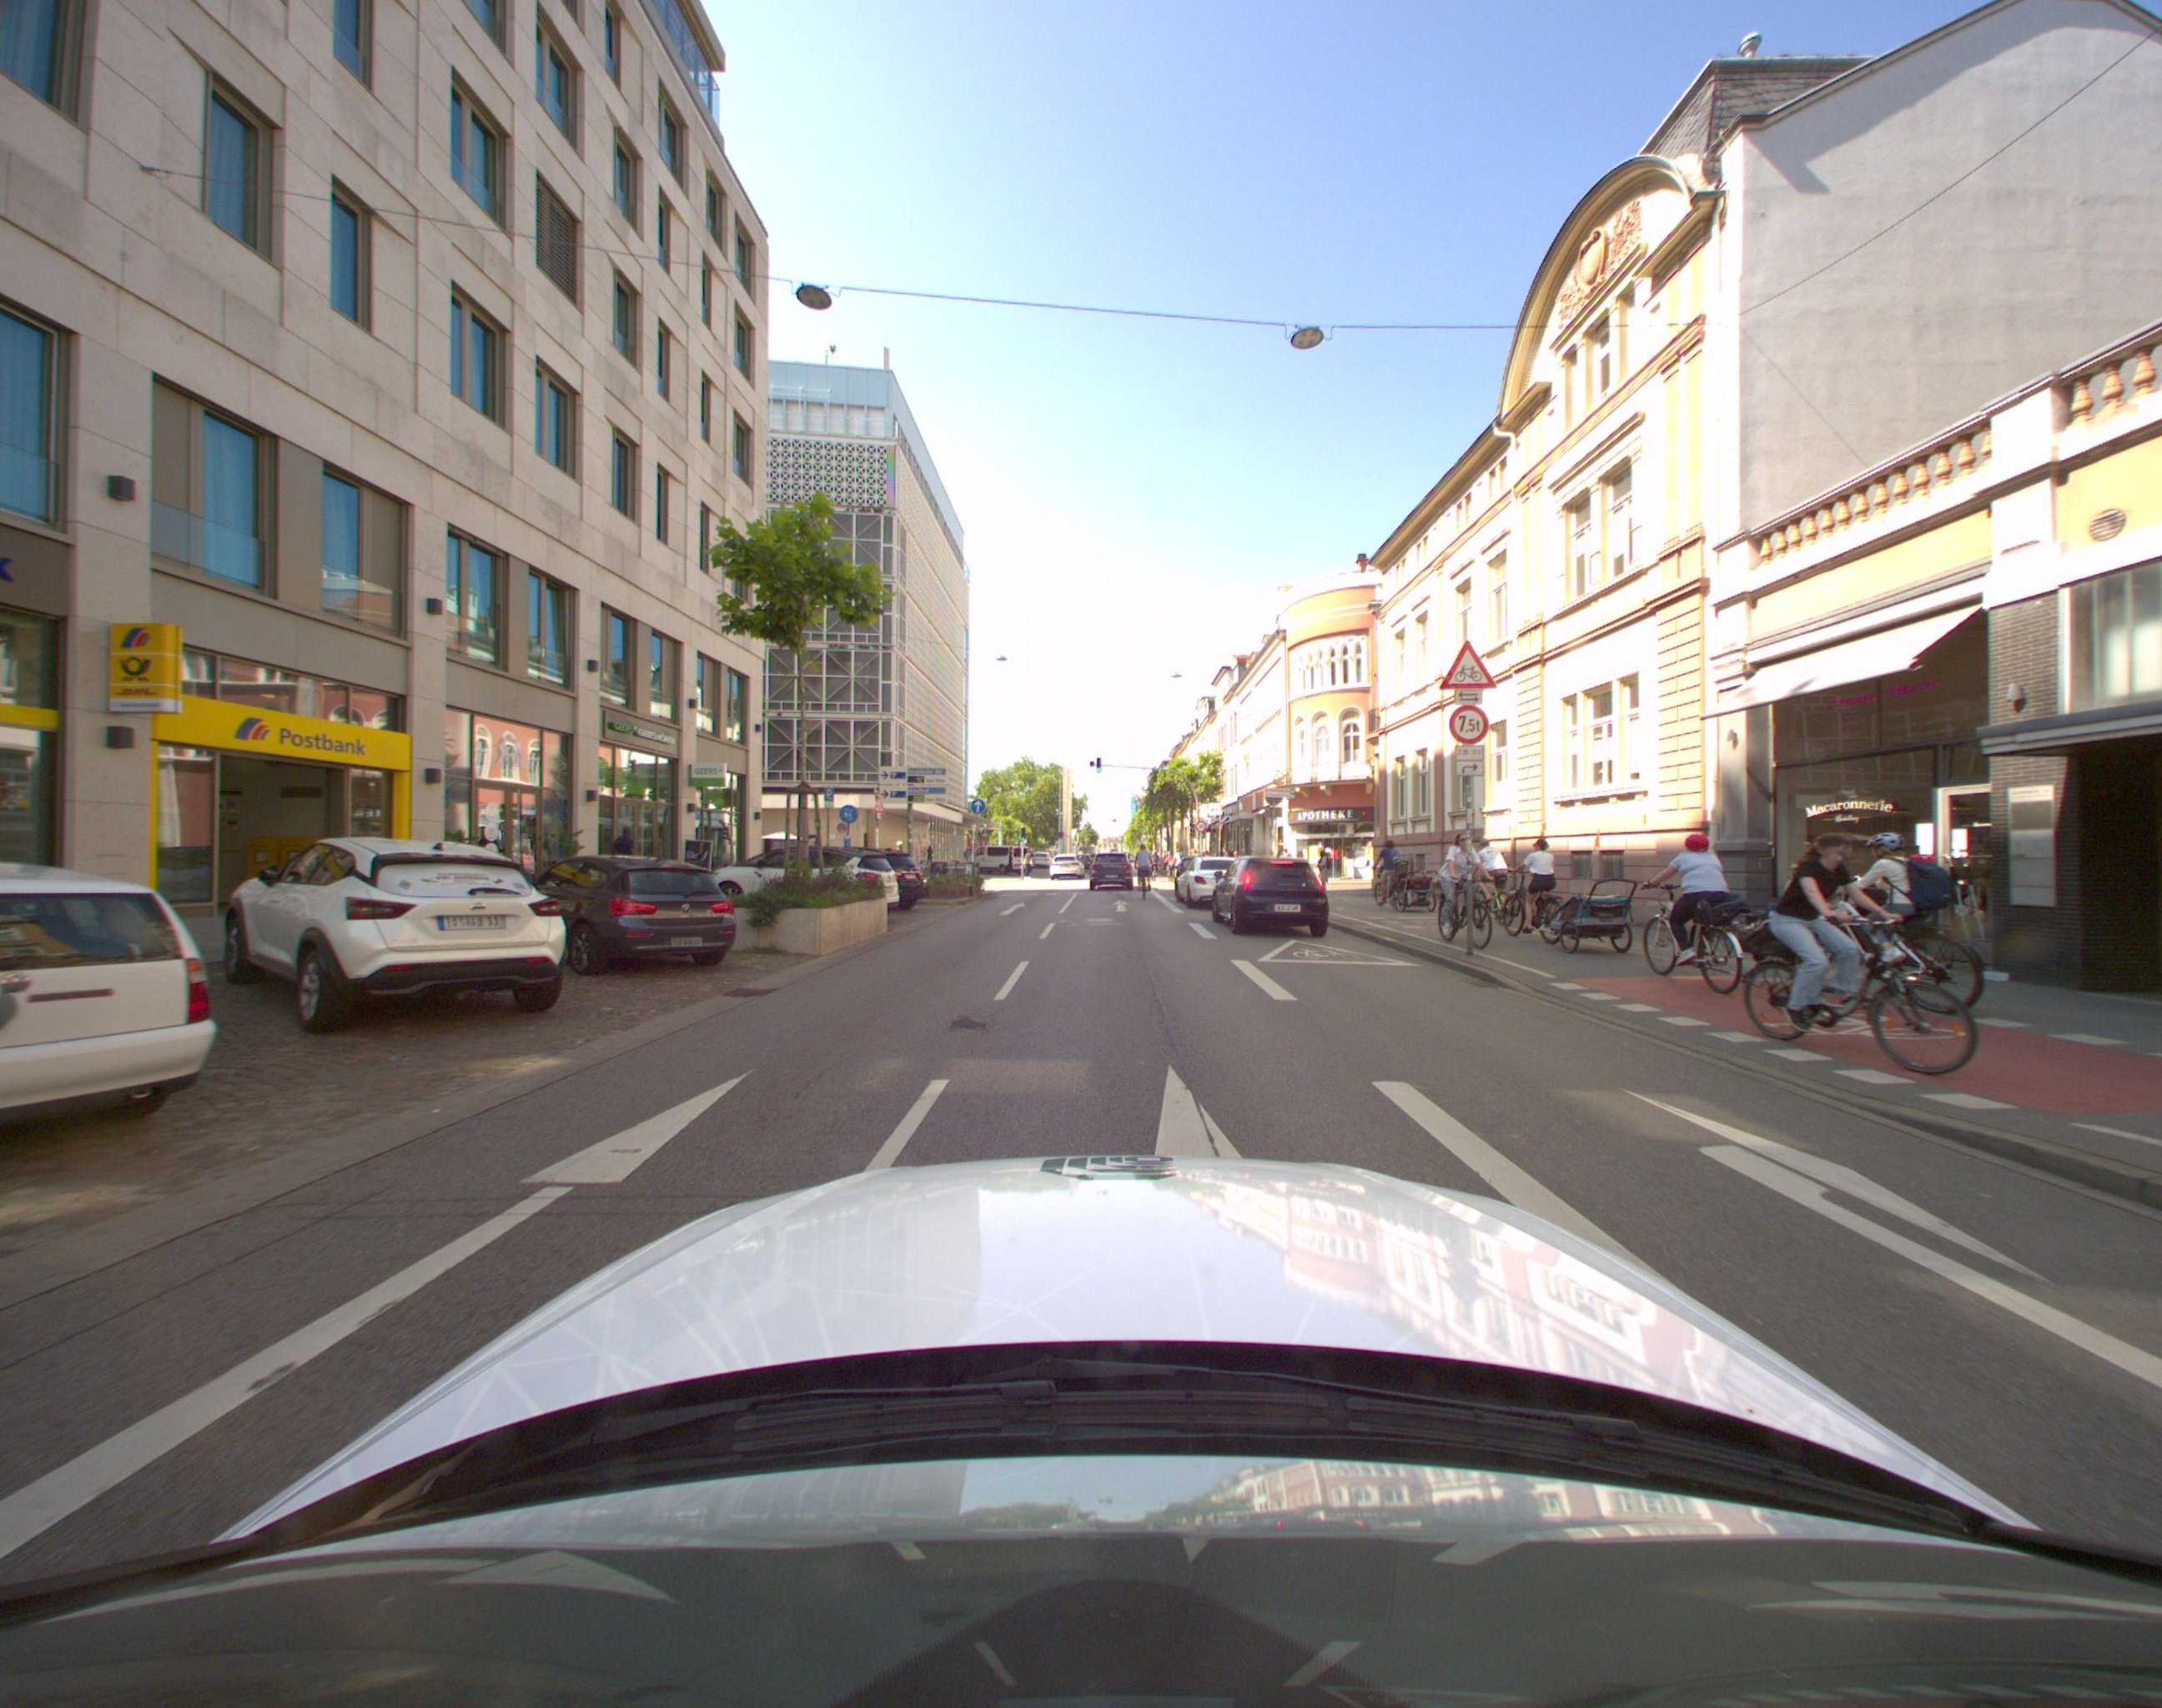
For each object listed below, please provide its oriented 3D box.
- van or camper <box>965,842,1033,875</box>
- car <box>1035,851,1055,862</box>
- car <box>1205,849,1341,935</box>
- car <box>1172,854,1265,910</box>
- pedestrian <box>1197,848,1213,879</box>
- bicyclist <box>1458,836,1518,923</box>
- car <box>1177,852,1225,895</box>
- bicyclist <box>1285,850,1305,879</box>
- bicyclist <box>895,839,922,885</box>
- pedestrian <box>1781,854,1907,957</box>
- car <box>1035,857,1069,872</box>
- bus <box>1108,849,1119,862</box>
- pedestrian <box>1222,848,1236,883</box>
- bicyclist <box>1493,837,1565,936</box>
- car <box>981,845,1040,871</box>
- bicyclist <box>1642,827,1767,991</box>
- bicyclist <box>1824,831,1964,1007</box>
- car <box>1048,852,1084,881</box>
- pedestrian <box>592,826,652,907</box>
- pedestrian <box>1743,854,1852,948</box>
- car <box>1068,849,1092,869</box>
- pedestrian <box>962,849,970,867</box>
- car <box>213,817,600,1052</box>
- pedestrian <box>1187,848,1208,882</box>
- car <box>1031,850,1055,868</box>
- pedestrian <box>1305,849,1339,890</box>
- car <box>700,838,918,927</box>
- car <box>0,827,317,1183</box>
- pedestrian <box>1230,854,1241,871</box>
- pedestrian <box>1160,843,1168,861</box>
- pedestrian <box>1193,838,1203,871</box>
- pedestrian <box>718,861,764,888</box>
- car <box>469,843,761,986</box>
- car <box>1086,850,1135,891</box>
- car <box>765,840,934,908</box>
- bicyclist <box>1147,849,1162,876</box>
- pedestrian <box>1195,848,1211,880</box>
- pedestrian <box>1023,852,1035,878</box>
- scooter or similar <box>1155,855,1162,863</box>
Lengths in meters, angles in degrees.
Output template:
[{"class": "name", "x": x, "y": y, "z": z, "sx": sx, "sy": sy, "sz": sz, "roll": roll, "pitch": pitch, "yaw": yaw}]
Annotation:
[{"class": "van or camper", "x": -5.603, "y": 0.286, "z": 55.324, "sx": 4.602, "sy": 2.013, "sz": 2.012, "roll": 2, "pitch": 1, "yaw": 41}, {"class": "car", "x": -6.563, "y": 0.524, "z": 148.552, "sx": 1.843, "sy": 1.955, "sz": 4.787, "roll": 0, "pitch": -1, "yaw": 23}, {"class": "car", "x": 3.838, "y": 0.731, "z": 17.023, "sx": 1.879, "sy": 1.491, "sz": 4.291, "roll": 2, "pitch": -1, "yaw": 1}, {"class": "car", "x": 3.910, "y": 0.735, "z": 23.968, "sx": 1.945, "sy": 1.425, "sz": 4.887, "roll": 2, "pitch": 0, "yaw": 1}, {"class": "pedestrian", "x": 6.981, "y": 0.531, "z": 45.920, "sx": 0.785, "sy": 1.690, "sz": 0.641, "roll": 0, "pitch": 0, "yaw": -1}, {"class": "bicyclist", "x": 8.208, "y": 0.489, "z": 16.478, "sx": 0.569, "sy": 1.661, "sz": 1.158, "roll": -2, "pitch": 1, "yaw": -2}, {"class": "car", "x": 4.547, "y": 0.721, "z": 30.542, "sx": 1.618, "sy": 1.478, "sz": 3.742, "roll": 1, "pitch": -1, "yaw": 11}, {"class": "bicyclist", "x": 10.291, "y": 0.502, "z": 39.144, "sx": 0.855, "sy": 1.411, "sz": 0.501, "roll": -1, "pitch": 0, "yaw": 2}, {"class": "bicyclist", "x": -7.417, "y": 0.346, "z": 35.047, "sx": 0.837, "sy": 1.960, "sz": 1.019, "roll": 0, "pitch": -1, "yaw": 8}, {"class": "pedestrian", "x": 10.460, "y": 0.683, "z": 11.187, "sx": 1.082, "sy": 1.316, "sz": 0.625, "roll": -3, "pitch": 0, "yaw": 0}, {"class": "car", "x": -3.521, "y": 1.246, "z": 99.440, "sx": 1.873, "sy": 1.541, "sz": 4.893, "roll": 1, "pitch": 3, "yaw": 29}, {"class": "bus", "x": 9.470, "y": 0.503, "z": 236.425, "sx": 2.984, "sy": 3.594, "sz": 11.747, "roll": 0, "pitch": -1, "yaw": 2}, {"class": "pedestrian", "x": 7.928, "y": 0.623, "z": 43.627, "sx": 0.634, "sy": 1.843, "sz": 0.617, "roll": 2, "pitch": -1, "yaw": 14}, {"class": "bicyclist", "x": 7.532, "y": 0.525, "z": 13.726, "sx": 0.743, "sy": 1.573, "sz": 0.845, "roll": -2, "pitch": 2, "yaw": 2}, {"class": "car", "x": -5.527, "y": 0.298, "z": 63.591, "sx": 4.389, "sy": 1.909, "sz": 2.022, "roll": 1, "pitch": 1, "yaw": 38}, {"class": "bicyclist", "x": 6.967, "y": 0.588, "z": 9.144, "sx": 0.680, "sy": 1.717, "sz": 0.845, "roll": -3, "pitch": -1, "yaw": 2}, {"class": "bicyclist", "x": 7.954, "y": 0.609, "z": 8.008, "sx": 0.513, "sy": 1.636, "sz": 0.845, "roll": -1, "pitch": -1, "yaw": 2}, {"class": "car", "x": -0.815, "y": 0.675, "z": 47.145, "sx": 1.838, "sy": 1.560, "sz": 4.003, "roll": -1, "pitch": 0, "yaw": 2}, {"class": "pedestrian", "x": -11.146, "y": 0.289, "z": 19.813, "sx": 0.835, "sy": 1.879, "sz": 0.845, "roll": 4, "pitch": -1, "yaw": 2}, {"class": "pedestrian", "x": 10.412, "y": 0.673, "z": 11.864, "sx": 1.025, "sy": 1.316, "sz": 0.625, "roll": -1, "pitch": 0, "yaw": 0}, {"class": "car", "x": -0.063, "y": 0.382, "z": 64.976, "sx": 1.839, "sy": 1.449, "sz": 4.001, "roll": -1, "pitch": 0, "yaw": 1}, {"class": "pedestrian", "x": -9.997, "y": 0.330, "z": 70.877, "sx": 0.677, "sy": 1.559, "sz": 0.640, "roll": 0, "pitch": 0, "yaw": -3}, {"class": "car", "x": -6.770, "y": 0.599, "z": 8.070, "sx": 3.987, "sy": 1.593, "sz": 1.830, "roll": 5, "pitch": 0, "yaw": 34}, {"class": "pedestrian", "x": 6.107, "y": 0.582, "z": 42.866, "sx": 0.638, "sy": 1.708, "sz": 0.789, "roll": -11, "pitch": -3, "yaw": -3}, {"class": "car", "x": -3.444, "y": 0.439, "z": 75.047, "sx": 1.792, "sy": 1.523, "sz": 4.741, "roll": 1, "pitch": 1, "yaw": 2}, {"class": "pedestrian", "x": 9.802, "y": 0.631, "z": 33.180, "sx": 0.902, "sy": 1.612, "sz": 0.970, "roll": -1, "pitch": -3, "yaw": -17}, {"class": "car", "x": -6.166, "y": 0.612, "z": 18.714, "sx": 4.132, "sy": 1.636, "sz": 2.108, "roll": 4, "pitch": 0, "yaw": 10}, {"class": "car", "x": -6.969, "y": 0.636, "z": 4.719, "sx": 4.449, "sy": 1.432, "sz": 1.872, "roll": 5, "pitch": 0, "yaw": 21}, {"class": "pedestrian", "x": 11.292, "y": 0.629, "z": 59.499, "sx": 0.679, "sy": 1.253, "sz": 0.532, "roll": -1, "pitch": 0, "yaw": -1}, {"class": "pedestrian", "x": 8.127, "y": -0.185, "z": 79.669, "sx": 0.637, "sy": 1.689, "sz": 0.843, "roll": 3, "pitch": 0, "yaw": -1}, {"class": "pedestrian", "x": 6.495, "y": 0.040, "z": 45.247, "sx": 0.451, "sy": 1.795, "sz": 0.608, "roll": 1, "pitch": 0, "yaw": 0}, {"class": "pedestrian", "x": -11.799, "y": 0.714, "z": 28.272, "sx": 1.245, "sy": 0.925, "sz": 0.841, "roll": 0, "pitch": 0, "yaw": 0}, {"class": "car", "x": -6.508, "y": 0.697, "z": 11.220, "sx": 4.264, "sy": 1.449, "sz": 1.798, "roll": 3, "pitch": 0, "yaw": 35}, {"class": "car", "x": 1.172, "y": 0.649, "z": 33.973, "sx": 1.840, "sy": 1.559, "sz": 3.999, "roll": -1, "pitch": 0, "yaw": 0}, {"class": "car", "x": -6.281, "y": 0.511, "z": 22.129, "sx": 3.985, "sy": 1.603, "sz": 1.969, "roll": 2, "pitch": -1, "yaw": 24}, {"class": "bicyclist", "x": 3.929, "y": 0.456, "z": 43.407, "sx": 0.696, "sy": 1.440, "sz": 0.790, "roll": 2, "pitch": 0, "yaw": -2}, {"class": "pedestrian", "x": 6.949, "y": 0.581, "z": 46.573, "sx": 0.785, "sy": 1.795, "sz": 0.641, "roll": 1, "pitch": 0, "yaw": -1}, {"class": "pedestrian", "x": -3.122, "y": 0.655, "z": 48.787, "sx": 0.639, "sy": 1.559, "sz": 0.679, "roll": 1, "pitch": 0, "yaw": -10}, {"class": "scooter or similar", "x": 10.536, "y": 0.687, "z": 110.928, "sx": 0.422, "sy": 1.178, "sz": 1.224, "roll": 1, "pitch": 0, "yaw": -18}]
